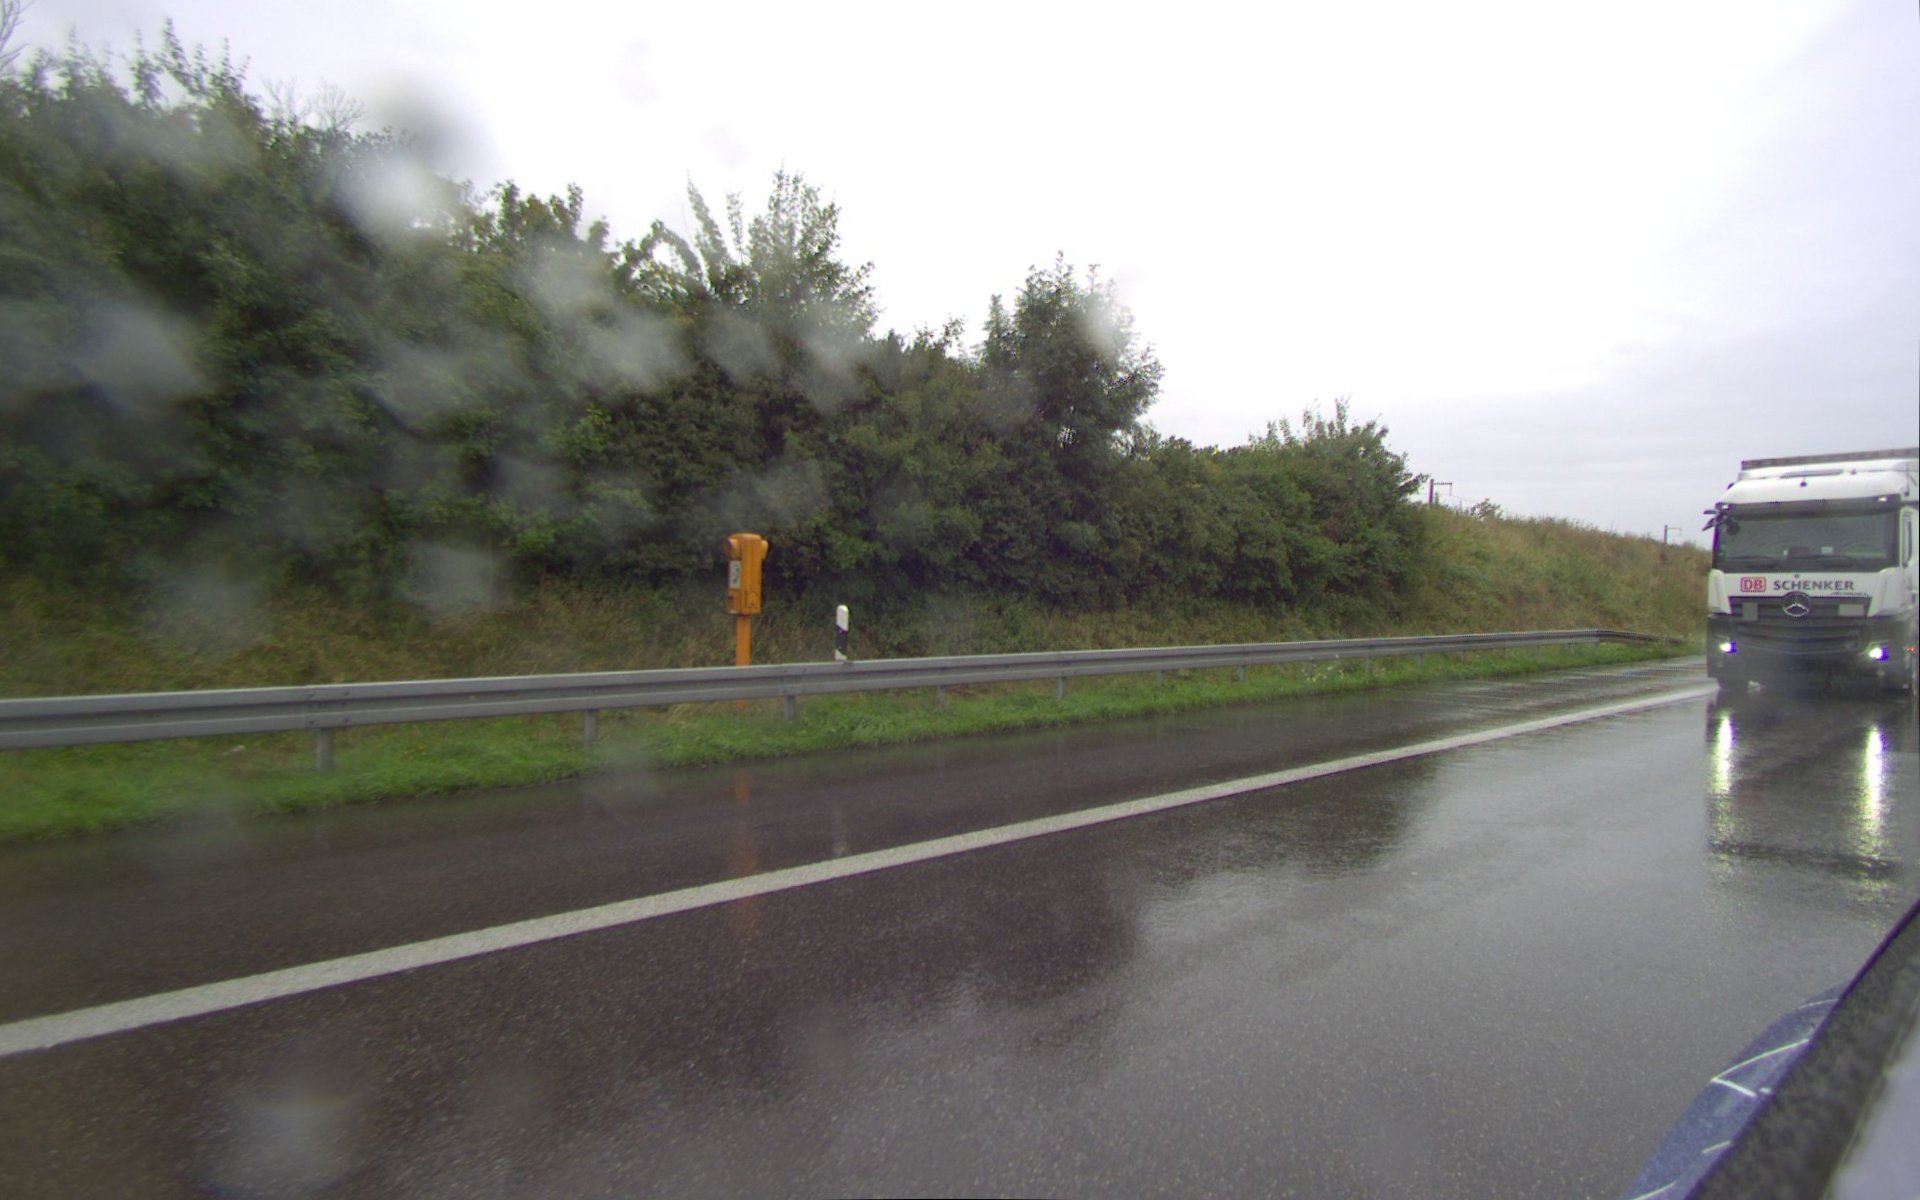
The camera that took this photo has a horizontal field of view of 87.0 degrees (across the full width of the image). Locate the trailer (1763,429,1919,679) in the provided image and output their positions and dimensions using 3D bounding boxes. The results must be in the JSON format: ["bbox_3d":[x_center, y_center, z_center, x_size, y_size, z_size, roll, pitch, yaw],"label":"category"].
[{"bbox_3d":[21.265,-0.836,22.625,13.927,4.302,2.631,0,0,-41],"label":"trailer"}]

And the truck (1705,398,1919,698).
[{"bbox_3d":[14.836,-0.766,17.095,4.955,4.307,2.630,0,0,-41],"label":"truck"}]
